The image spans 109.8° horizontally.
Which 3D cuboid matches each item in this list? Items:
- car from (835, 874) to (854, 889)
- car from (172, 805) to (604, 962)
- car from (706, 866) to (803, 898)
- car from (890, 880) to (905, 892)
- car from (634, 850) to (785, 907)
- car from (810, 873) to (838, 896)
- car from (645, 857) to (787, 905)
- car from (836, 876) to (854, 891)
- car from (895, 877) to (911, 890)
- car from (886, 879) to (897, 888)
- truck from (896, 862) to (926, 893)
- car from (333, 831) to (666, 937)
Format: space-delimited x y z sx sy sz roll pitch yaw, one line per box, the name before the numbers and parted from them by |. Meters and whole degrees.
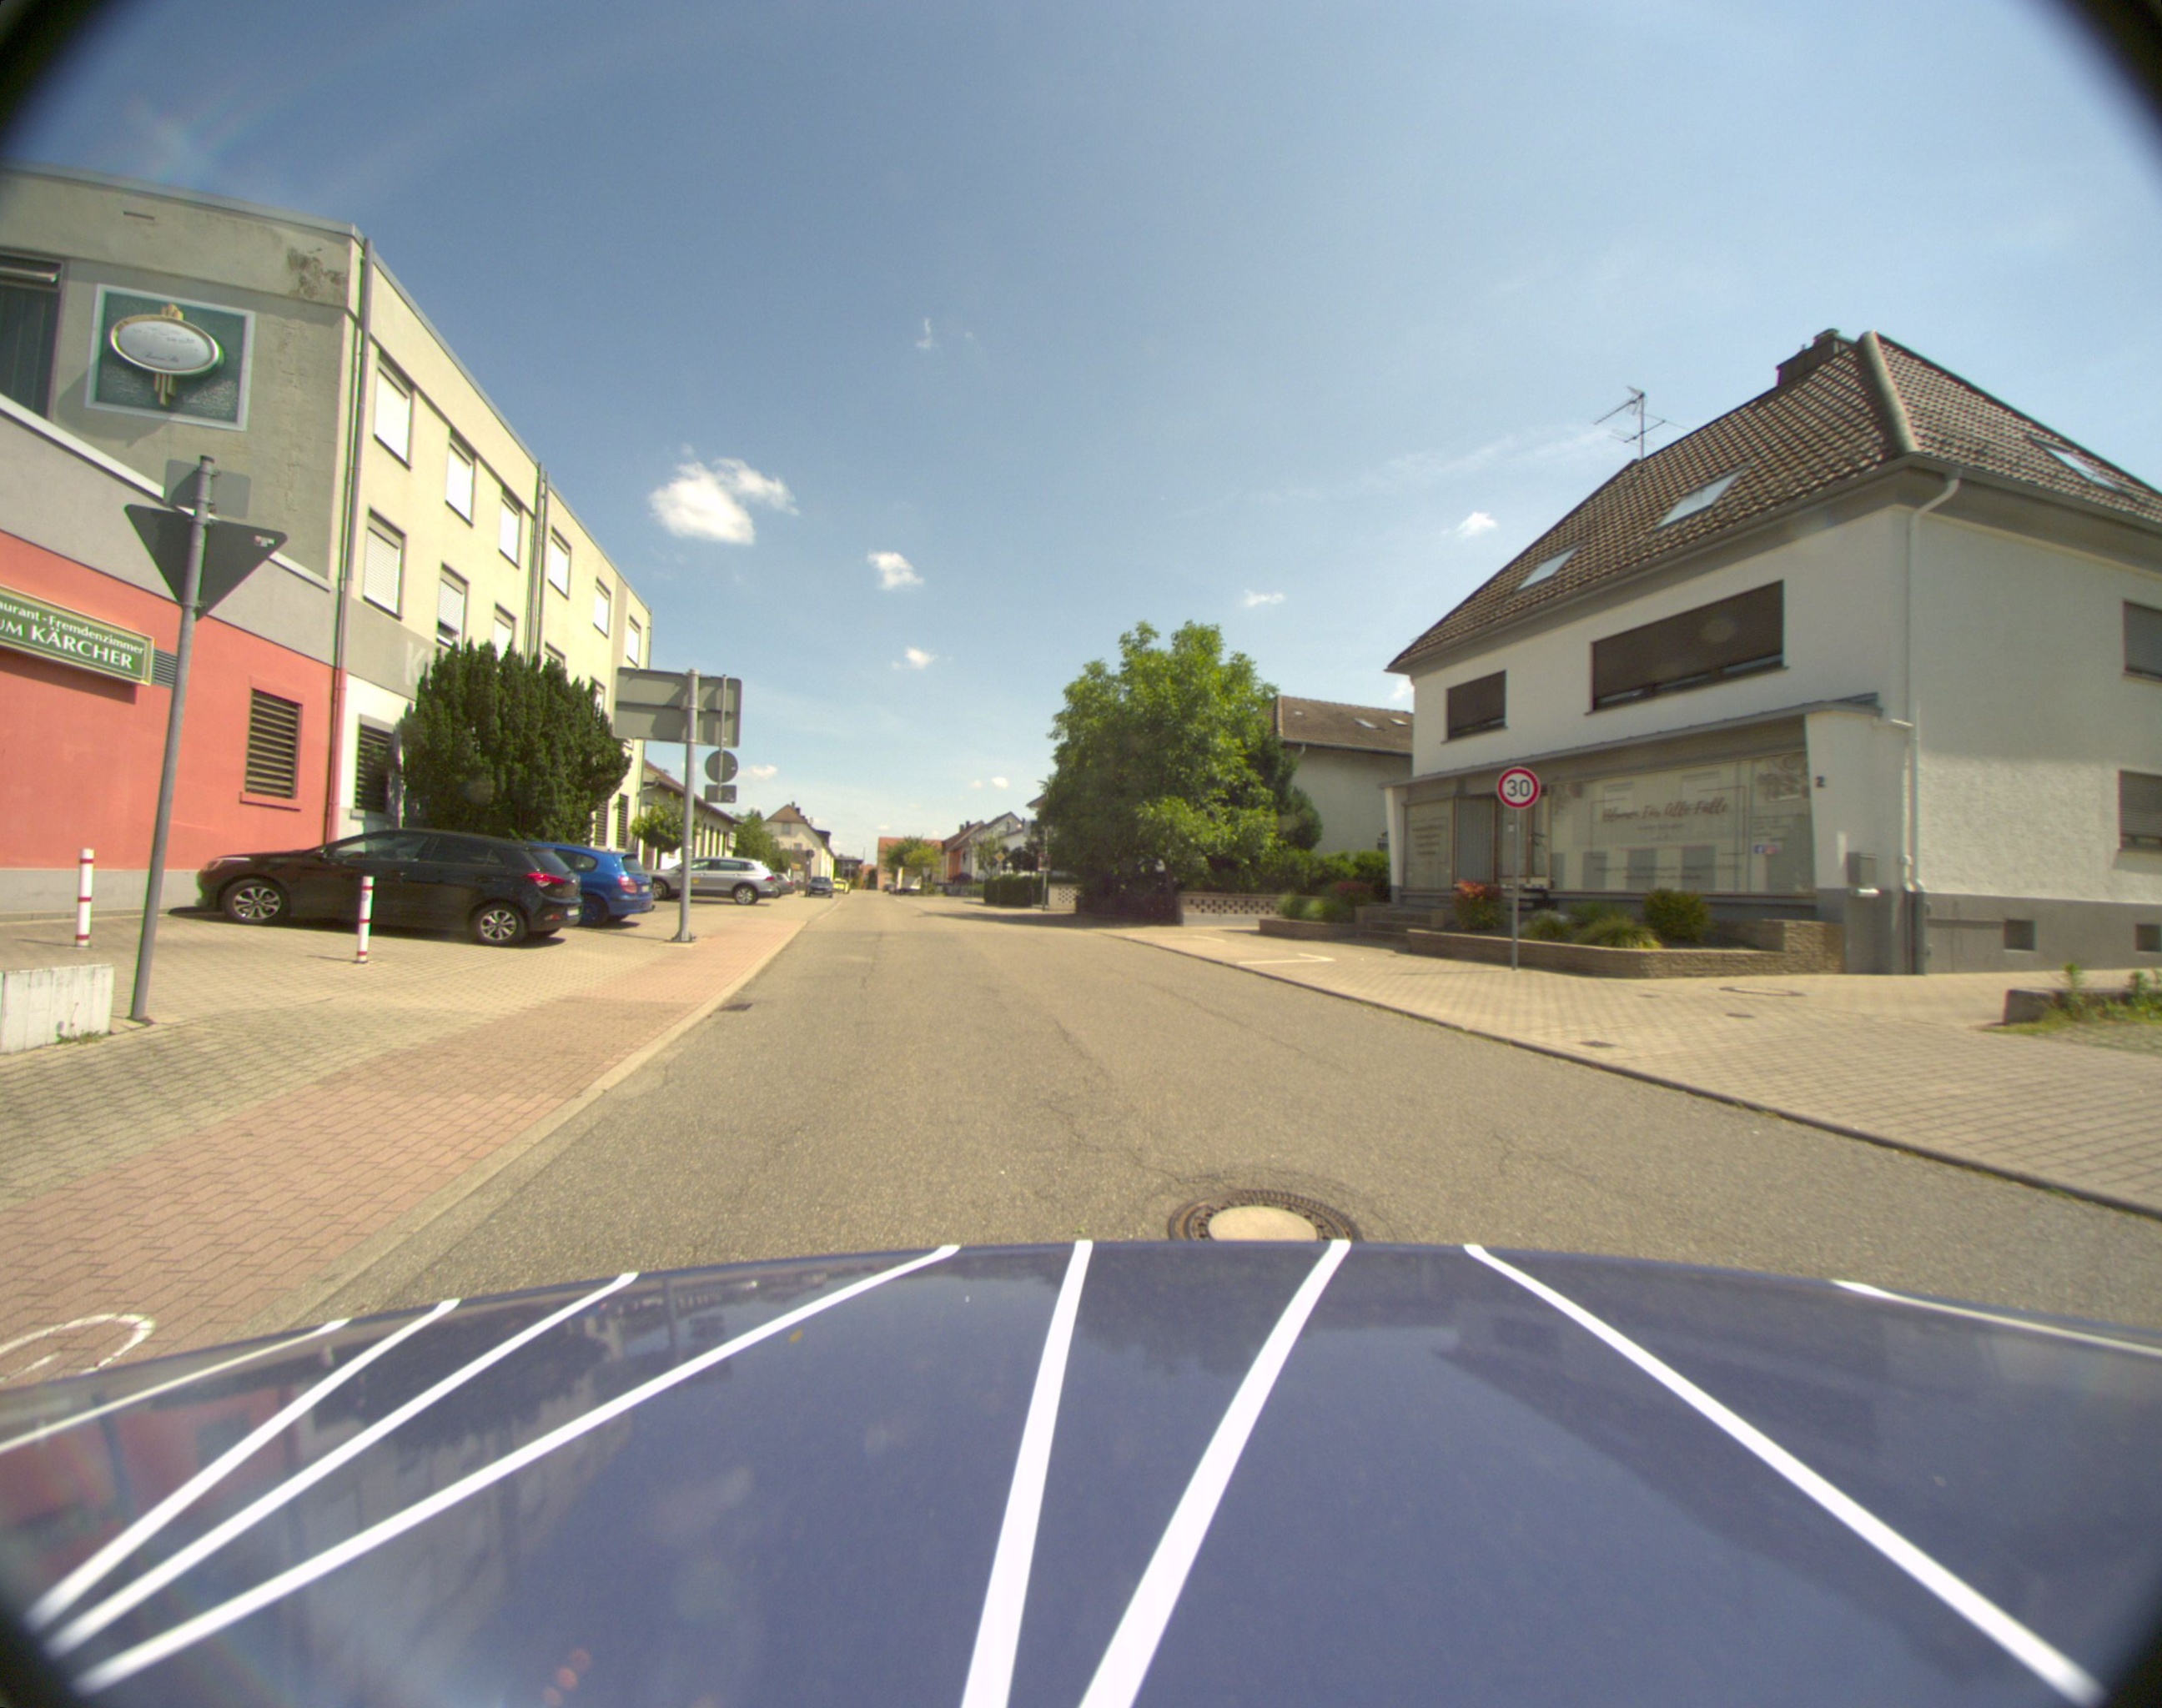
car | -25.412 2.957 81.665 1.723 1.389 4.211 6 -4 -16
car | -9.275 0.443 10.635 3.912 1.481 1.807 9 -3 -18
car | -17.782 1.551 41.613 4.545 1.445 1.916 4 -3 -16
car | -25.986 4.563 107.652 1.723 1.490 4.210 5 -3 -17
car | -12.992 0.898 26.884 4.472 1.686 1.920 4 -3 -18
car | -17.838 2.109 52.844 1.634 1.479 4.134 3 -3 -17
car | -13.792 1.055 29.013 4.519 1.510 1.998 4 -3 -17
car | -26.722 3.387 86.184 1.723 1.490 4.211 6 -4 -16
car | -23.846 3.939 101.678 1.723 1.490 4.210 5 -3 -17
car | -34.186 5.374 136.950 1.723 1.490 4.210 5 -3 -17
truck | -19.833 2.790 88.371 2.448 3.225 7.027 6 -4 -18
car | -10.204 0.537 13.761 4.341 1.431 1.777 6 -1 -17
